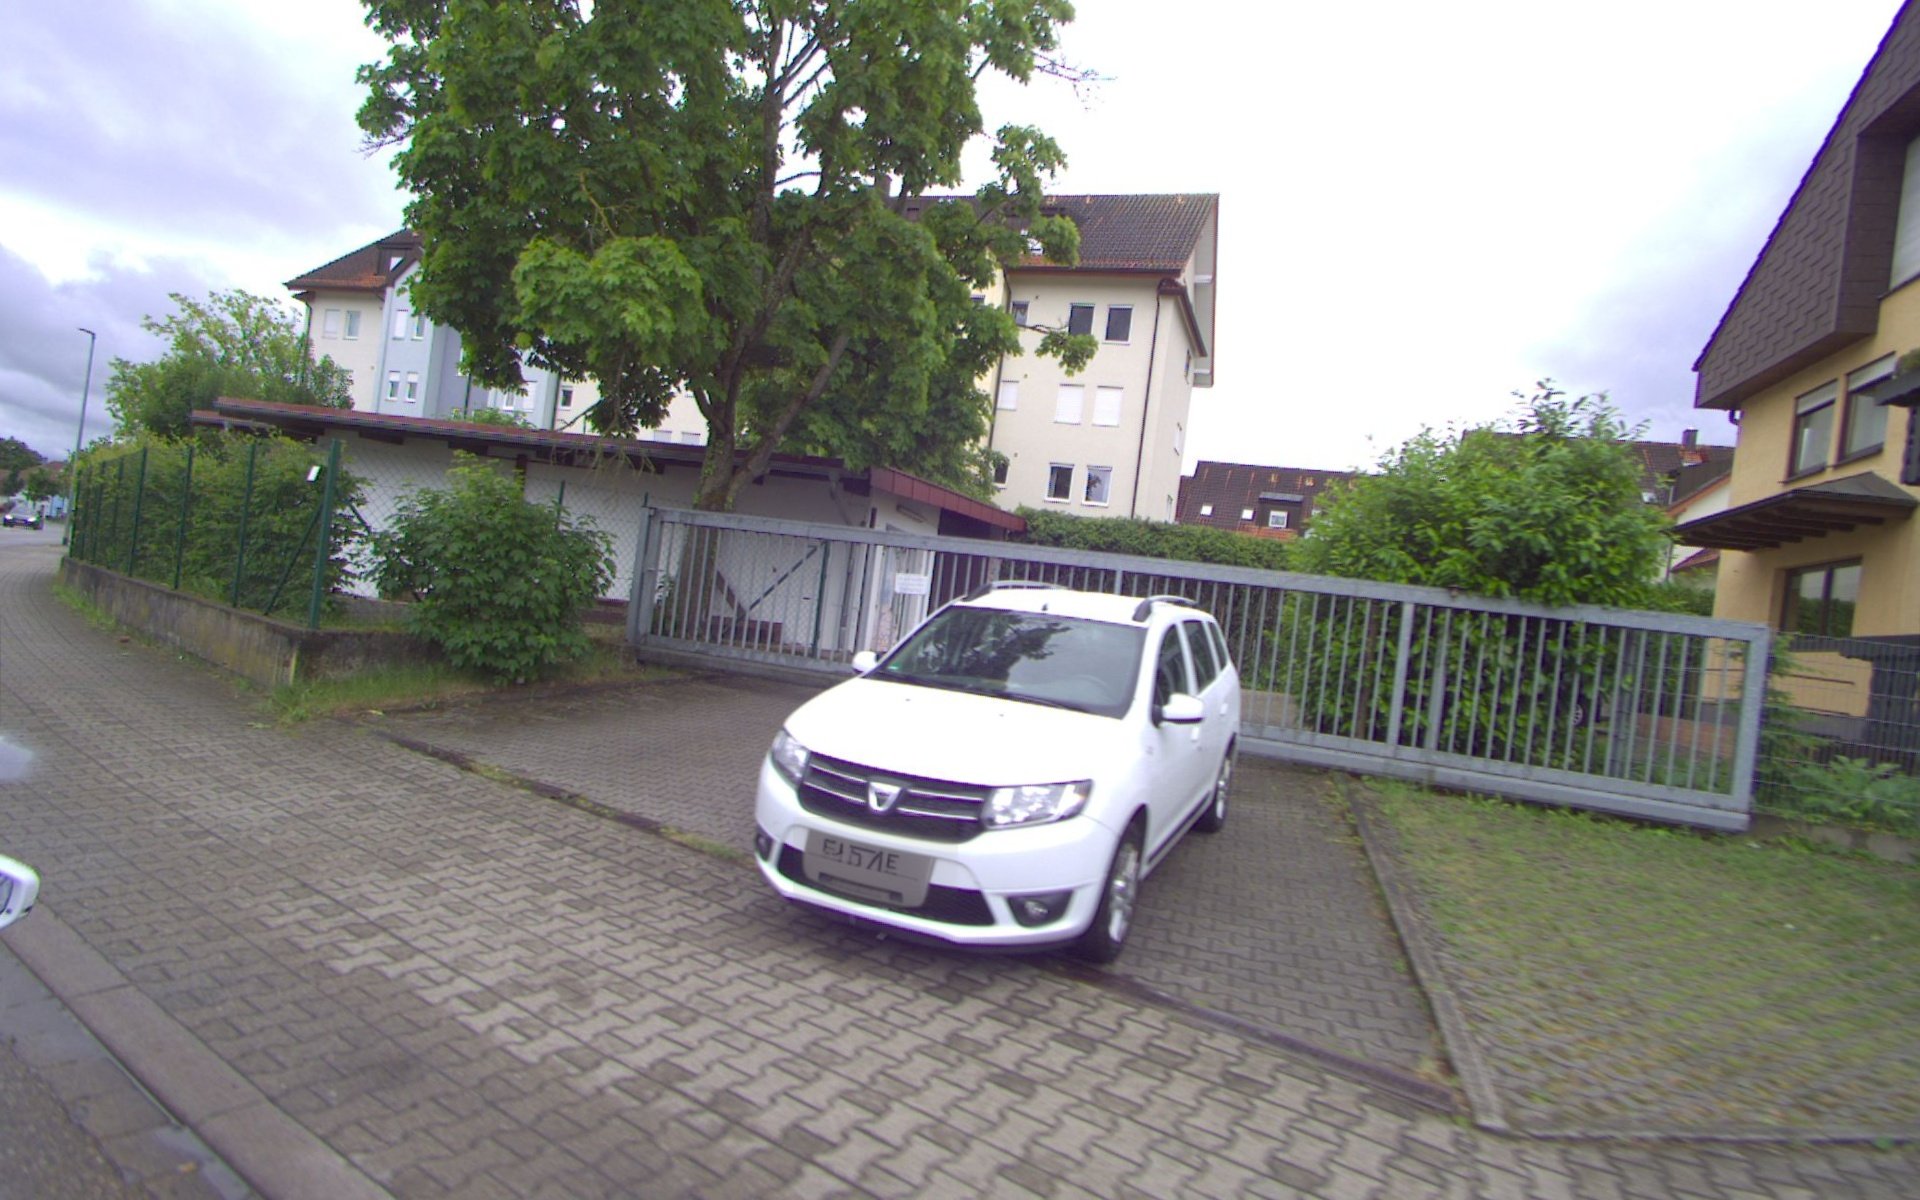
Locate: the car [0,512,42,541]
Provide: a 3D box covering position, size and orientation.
[{"bbox_3d":[-65.460,-5.114,70.133,1.894,1.677,4.069,7,-1,-40],"label":"car"}]

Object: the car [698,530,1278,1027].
[{"bbox_3d":[0.619,0.613,5.850,1.734,1.618,4.346,7,3,23],"label":"car"}]

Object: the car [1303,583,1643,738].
[{"bbox_3d":[8.667,1.017,17.543,4.841,2.037,2.002,5,-2,16],"label":"car"}]

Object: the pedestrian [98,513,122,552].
[{"bbox_3d":[-39.127,-3.108,46.331,0.565,1.691,0.718,6,-2,-30],"label":"pedestrian"}]

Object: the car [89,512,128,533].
[{"bbox_3d":[-75.173,-6.814,88.769,3.947,1.473,2.003,3,-3,42],"label":"car"}]
